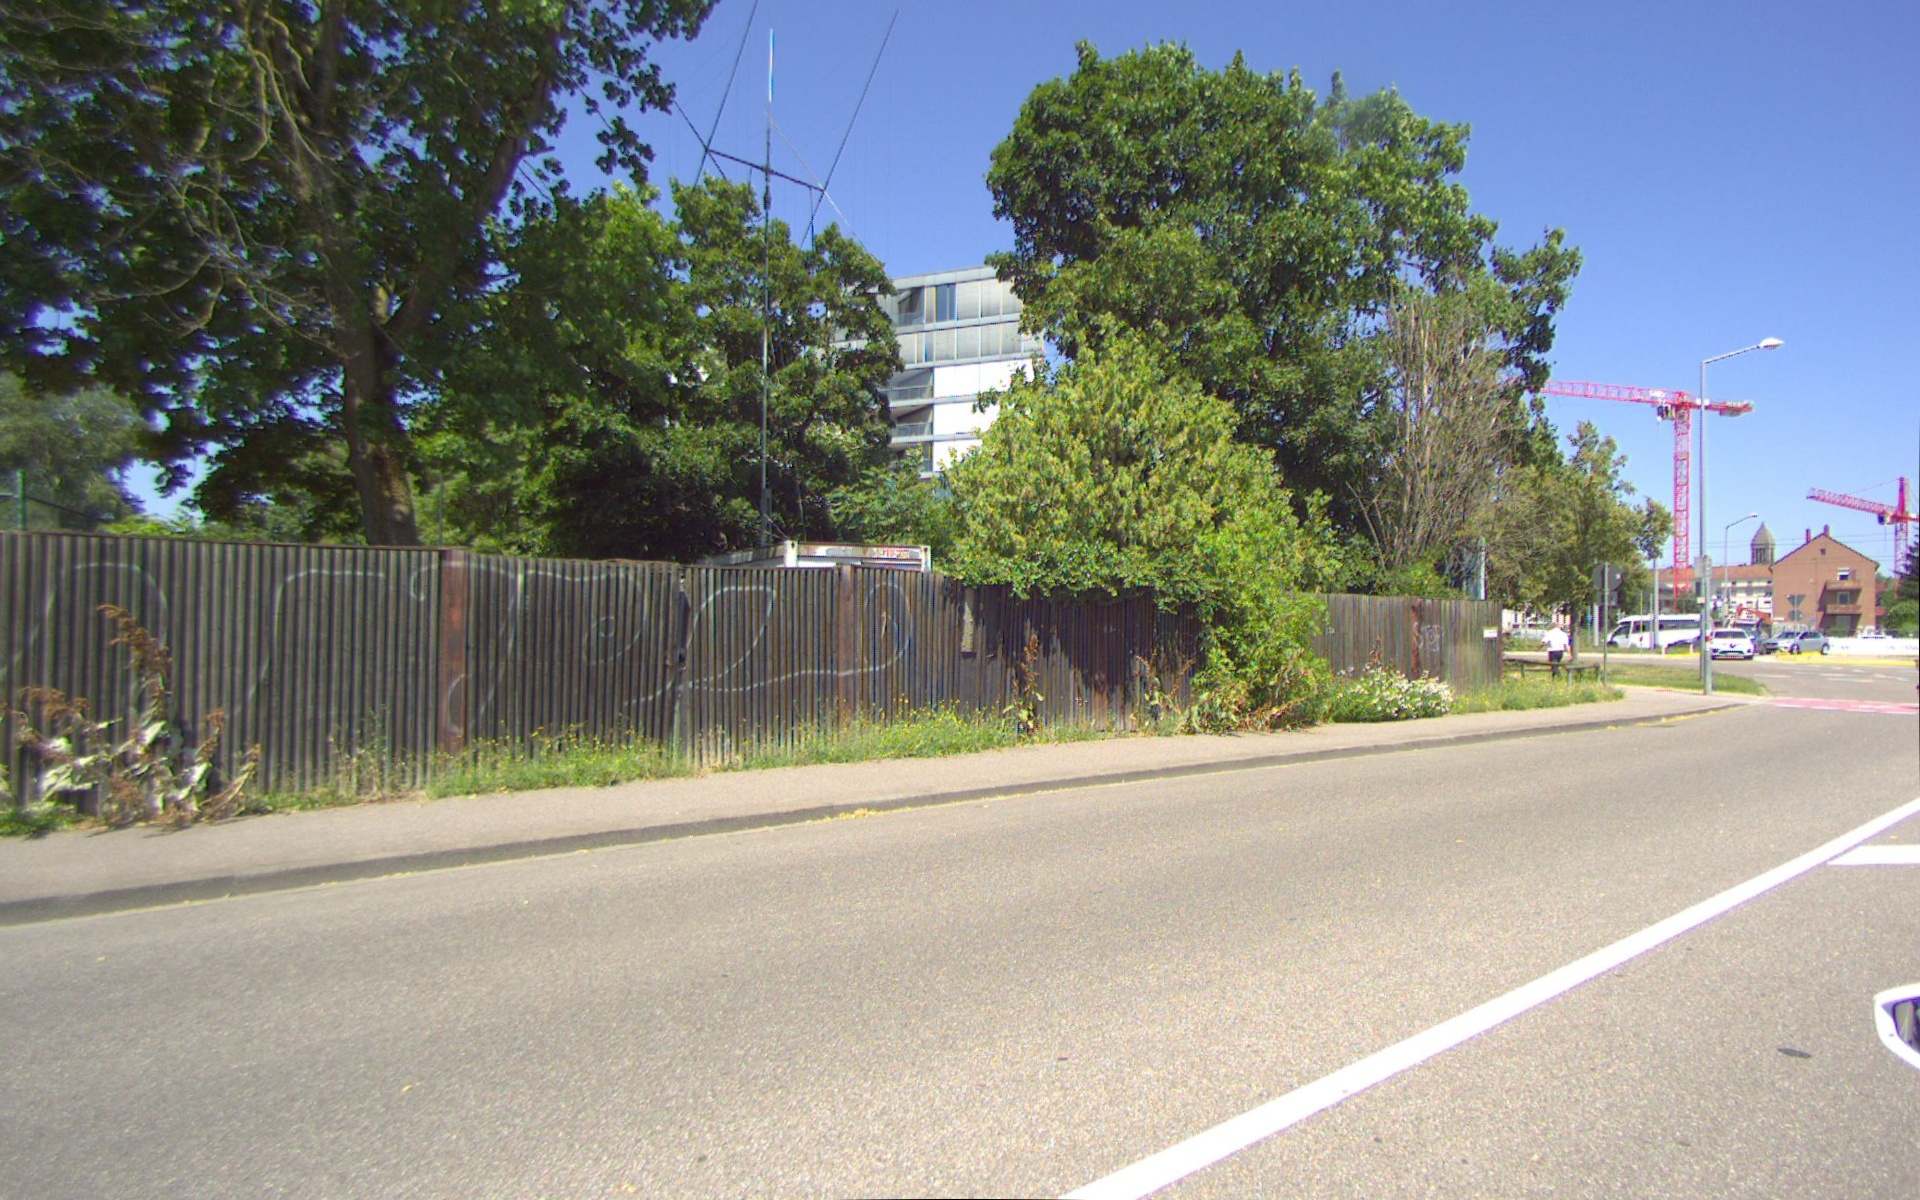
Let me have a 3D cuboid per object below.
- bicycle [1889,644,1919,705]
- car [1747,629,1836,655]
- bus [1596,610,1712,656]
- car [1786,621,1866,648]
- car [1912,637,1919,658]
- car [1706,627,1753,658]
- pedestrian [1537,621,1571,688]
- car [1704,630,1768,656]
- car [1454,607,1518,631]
[{"bbox_3d":[19.987,1.527,20.143,0.622,1.237,2.097,0,-1,-7],"label":"bicycle"},{"bbox_3d":[50.523,2.533,61.081,4.191,1.421,1.731,2,0,-7],"label":"car"},{"bbox_3d":[54.082,2.523,78.451,7.172,3.215,2.249,2,0,43],"label":"bus"},{"bbox_3d":[62.526,2.472,72.597,3.923,1.795,1.786,2,0,23],"label":"car"},{"bbox_3d":[66.983,3.269,67.280,4.250,1.390,1.750,2,0,27],"label":"car"},{"bbox_3d":[39.213,2.138,51.241,1.752,1.547,3.859,-1,-2,36],"label":"car"},{"bbox_3d":[16.578,1.497,28.056,0.625,1.810,0.969,2,0,22],"label":"pedestrian"},{"bbox_3d":[44.052,2.432,56.999,4.288,1.390,1.735,2,0,-35],"label":"car"},{"bbox_3d":[41.319,1.498,78.912,4.366,1.759,1.845,2,0,31],"label":"car"}]
